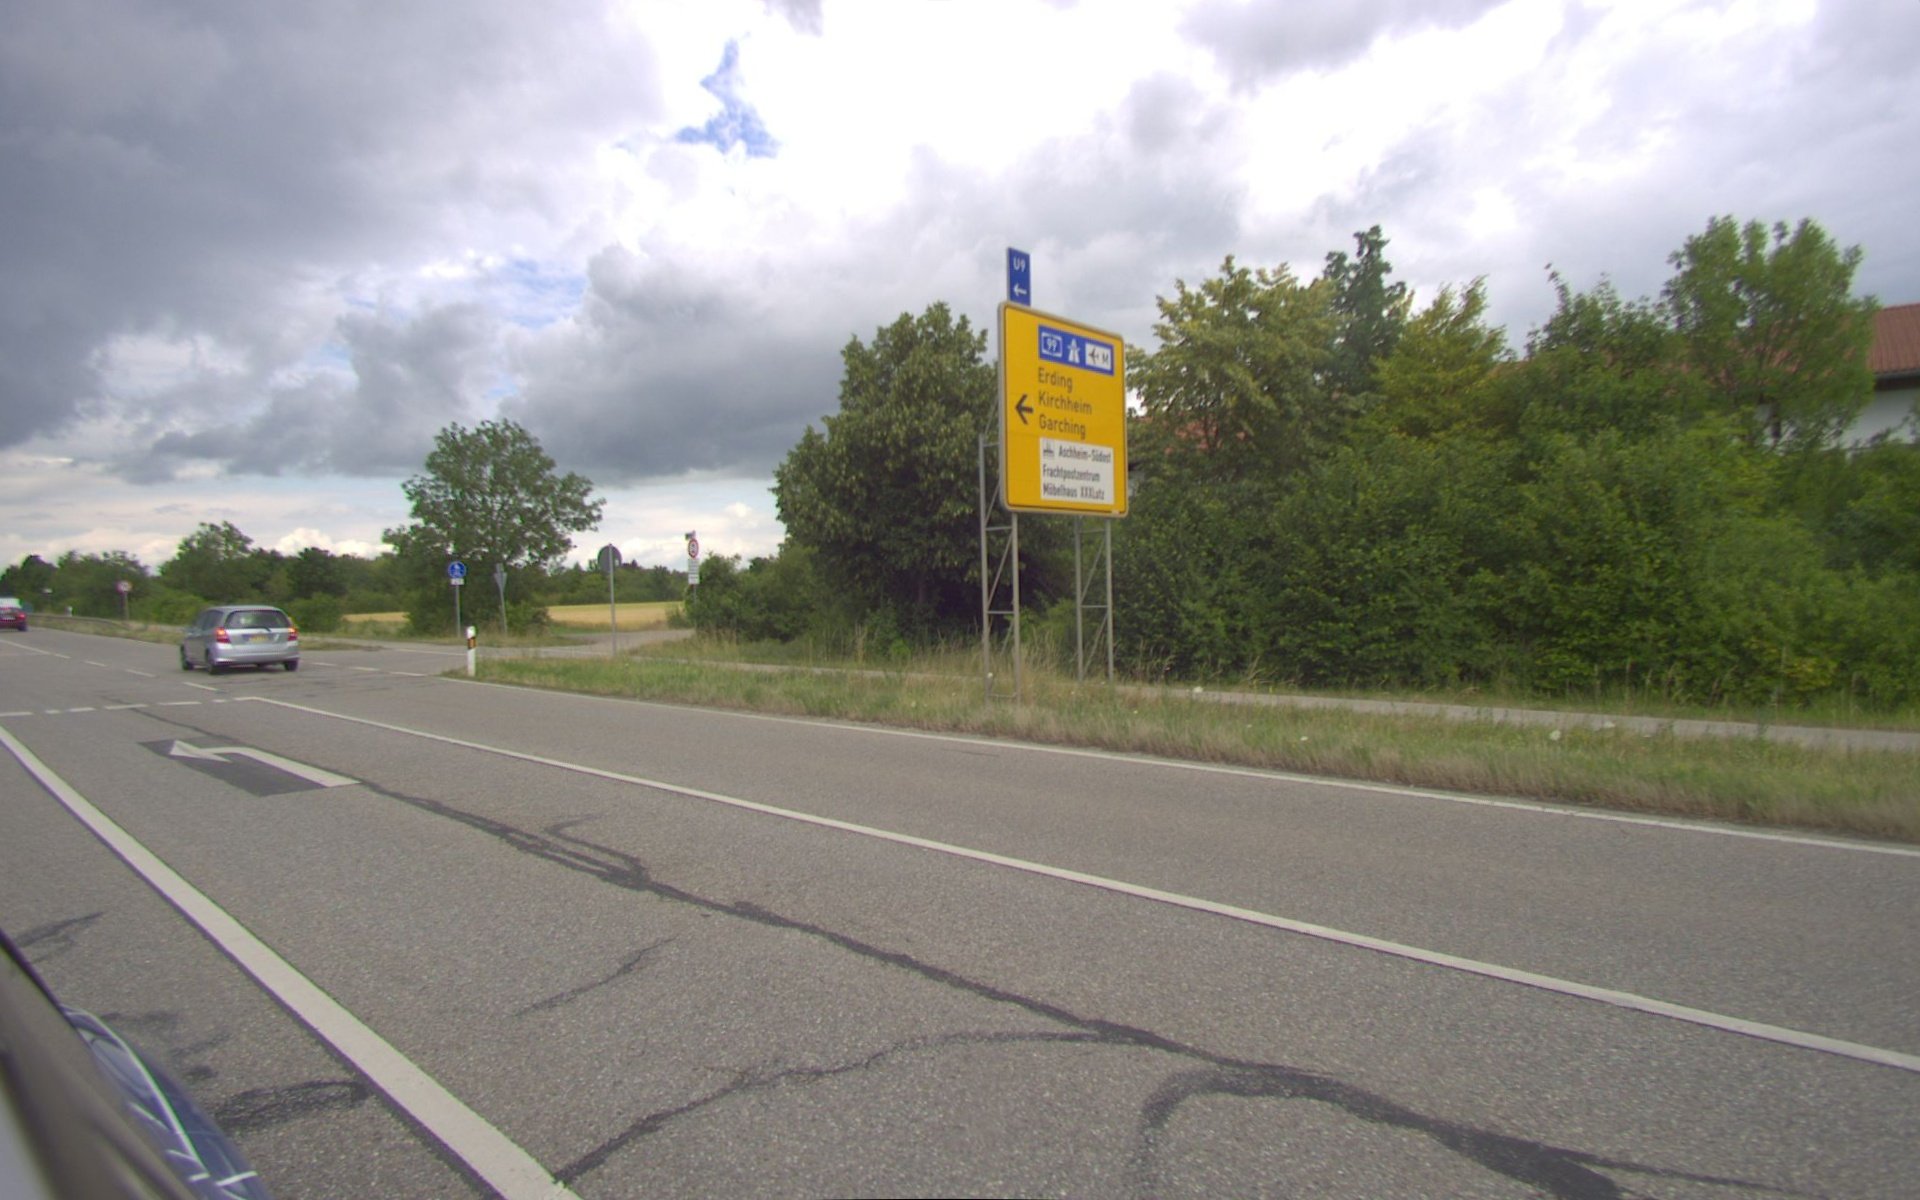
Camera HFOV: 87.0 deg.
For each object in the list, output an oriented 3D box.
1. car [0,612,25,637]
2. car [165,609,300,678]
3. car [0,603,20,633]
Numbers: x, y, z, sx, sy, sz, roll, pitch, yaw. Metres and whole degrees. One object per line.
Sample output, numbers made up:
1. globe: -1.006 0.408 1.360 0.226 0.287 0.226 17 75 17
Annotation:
1. car: -54.627 1.411 57.690 4.089 1.412 1.654 -2 -1 43
2. car: -16.755 0.955 23.240 3.933 1.442 1.711 -1 -1 42
3. car: -63.265 1.214 66.228 5.389 1.900 2.084 -1 0 42
